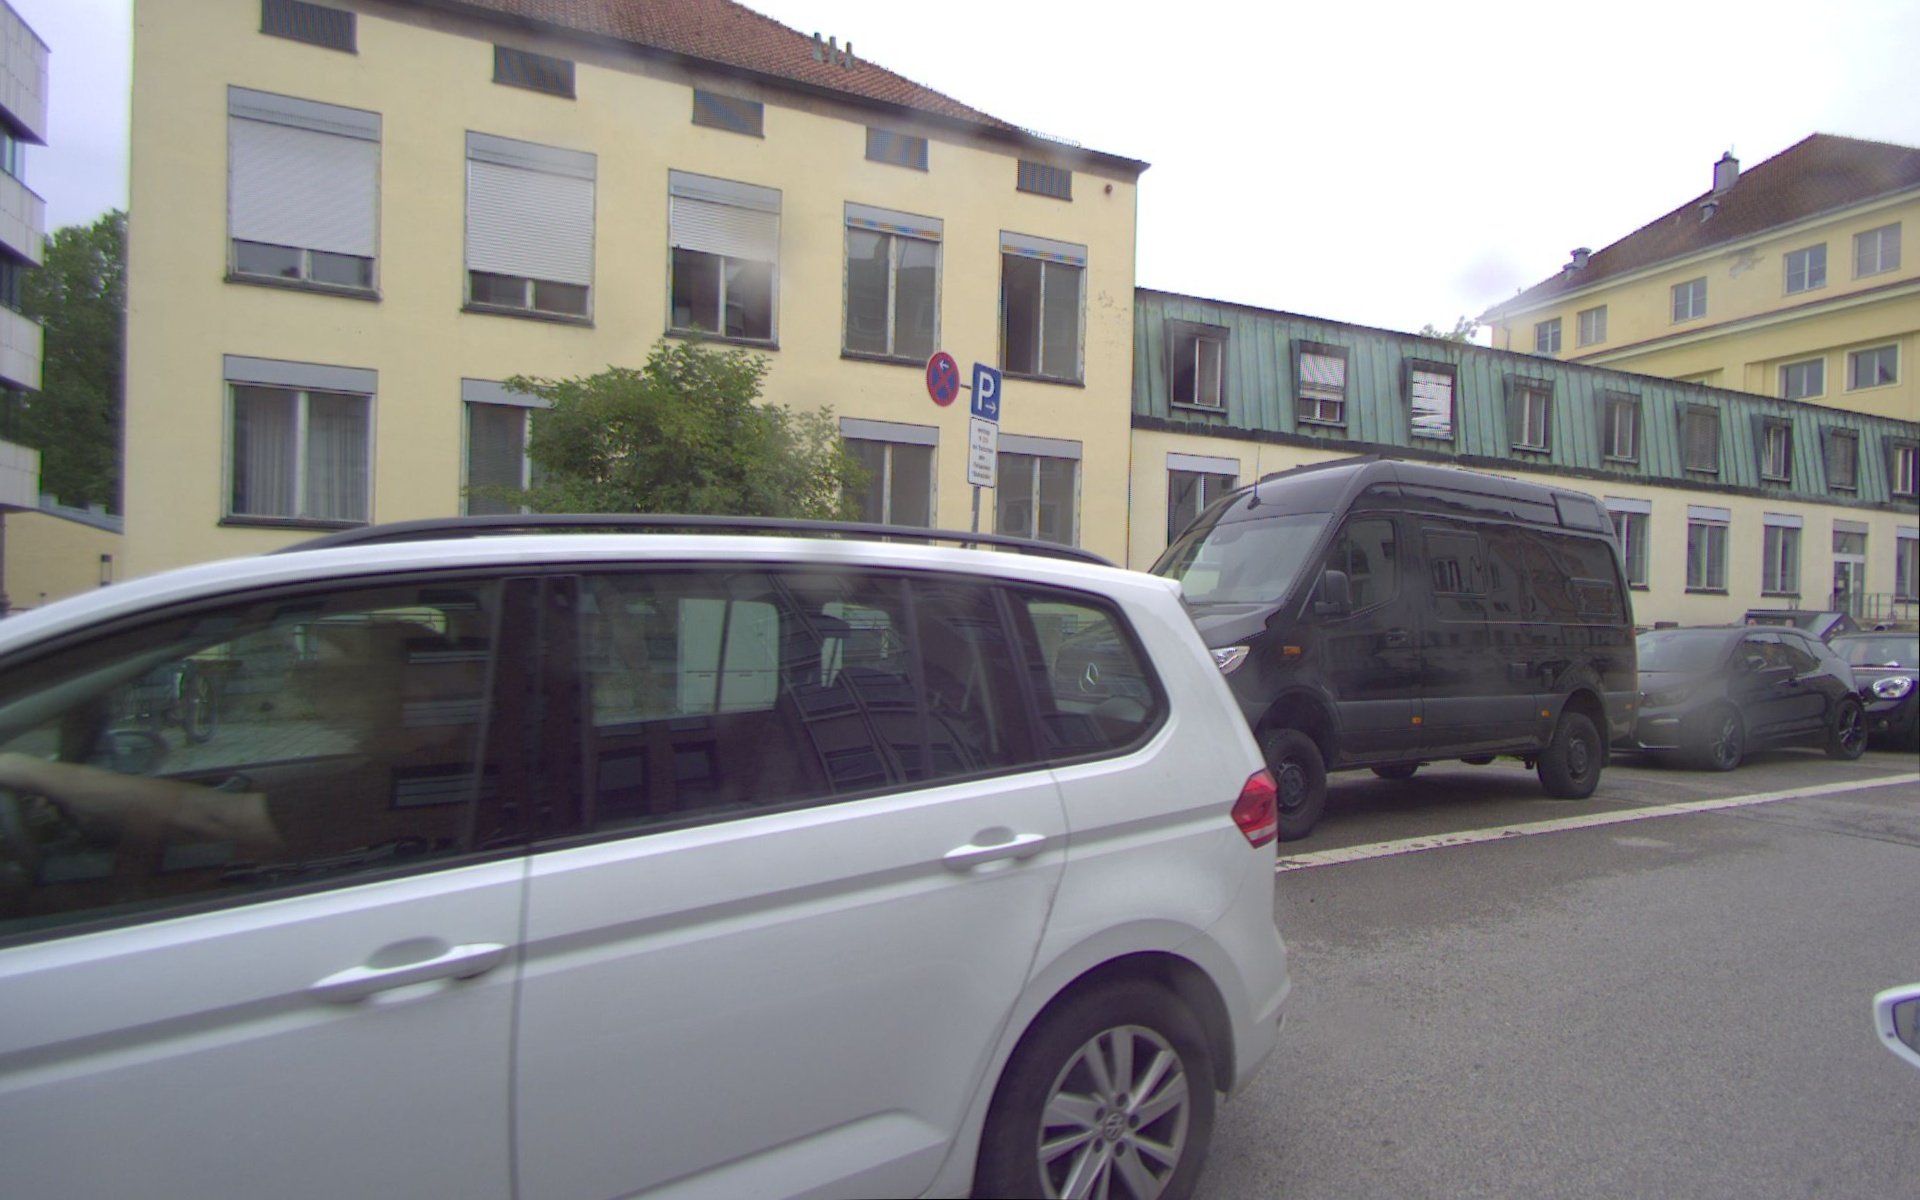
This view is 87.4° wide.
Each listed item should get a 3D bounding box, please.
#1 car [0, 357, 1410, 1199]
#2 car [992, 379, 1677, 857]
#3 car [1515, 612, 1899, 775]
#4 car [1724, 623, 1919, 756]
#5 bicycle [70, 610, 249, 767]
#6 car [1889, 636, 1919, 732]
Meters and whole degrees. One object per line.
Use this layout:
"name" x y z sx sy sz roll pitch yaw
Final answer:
"car" -1.073 0.564 2.308 4.101 1.695 1.784 2 0 -30
"car" 3.427 0.227 8.631 6.126 2.891 2.202 2 -3 -31
"car" 8.962 1.044 12.041 4.290 1.657 1.875 1 -3 -25
"car" 12.949 1.163 14.013 4.295 1.608 1.908 1 -3 -26
"bicycle" -6.716 0.685 8.531 0.511 1.167 1.810 2 0 -16
"car" 17.218 1.316 15.970 4.466 1.501 1.910 1 -3 -23
